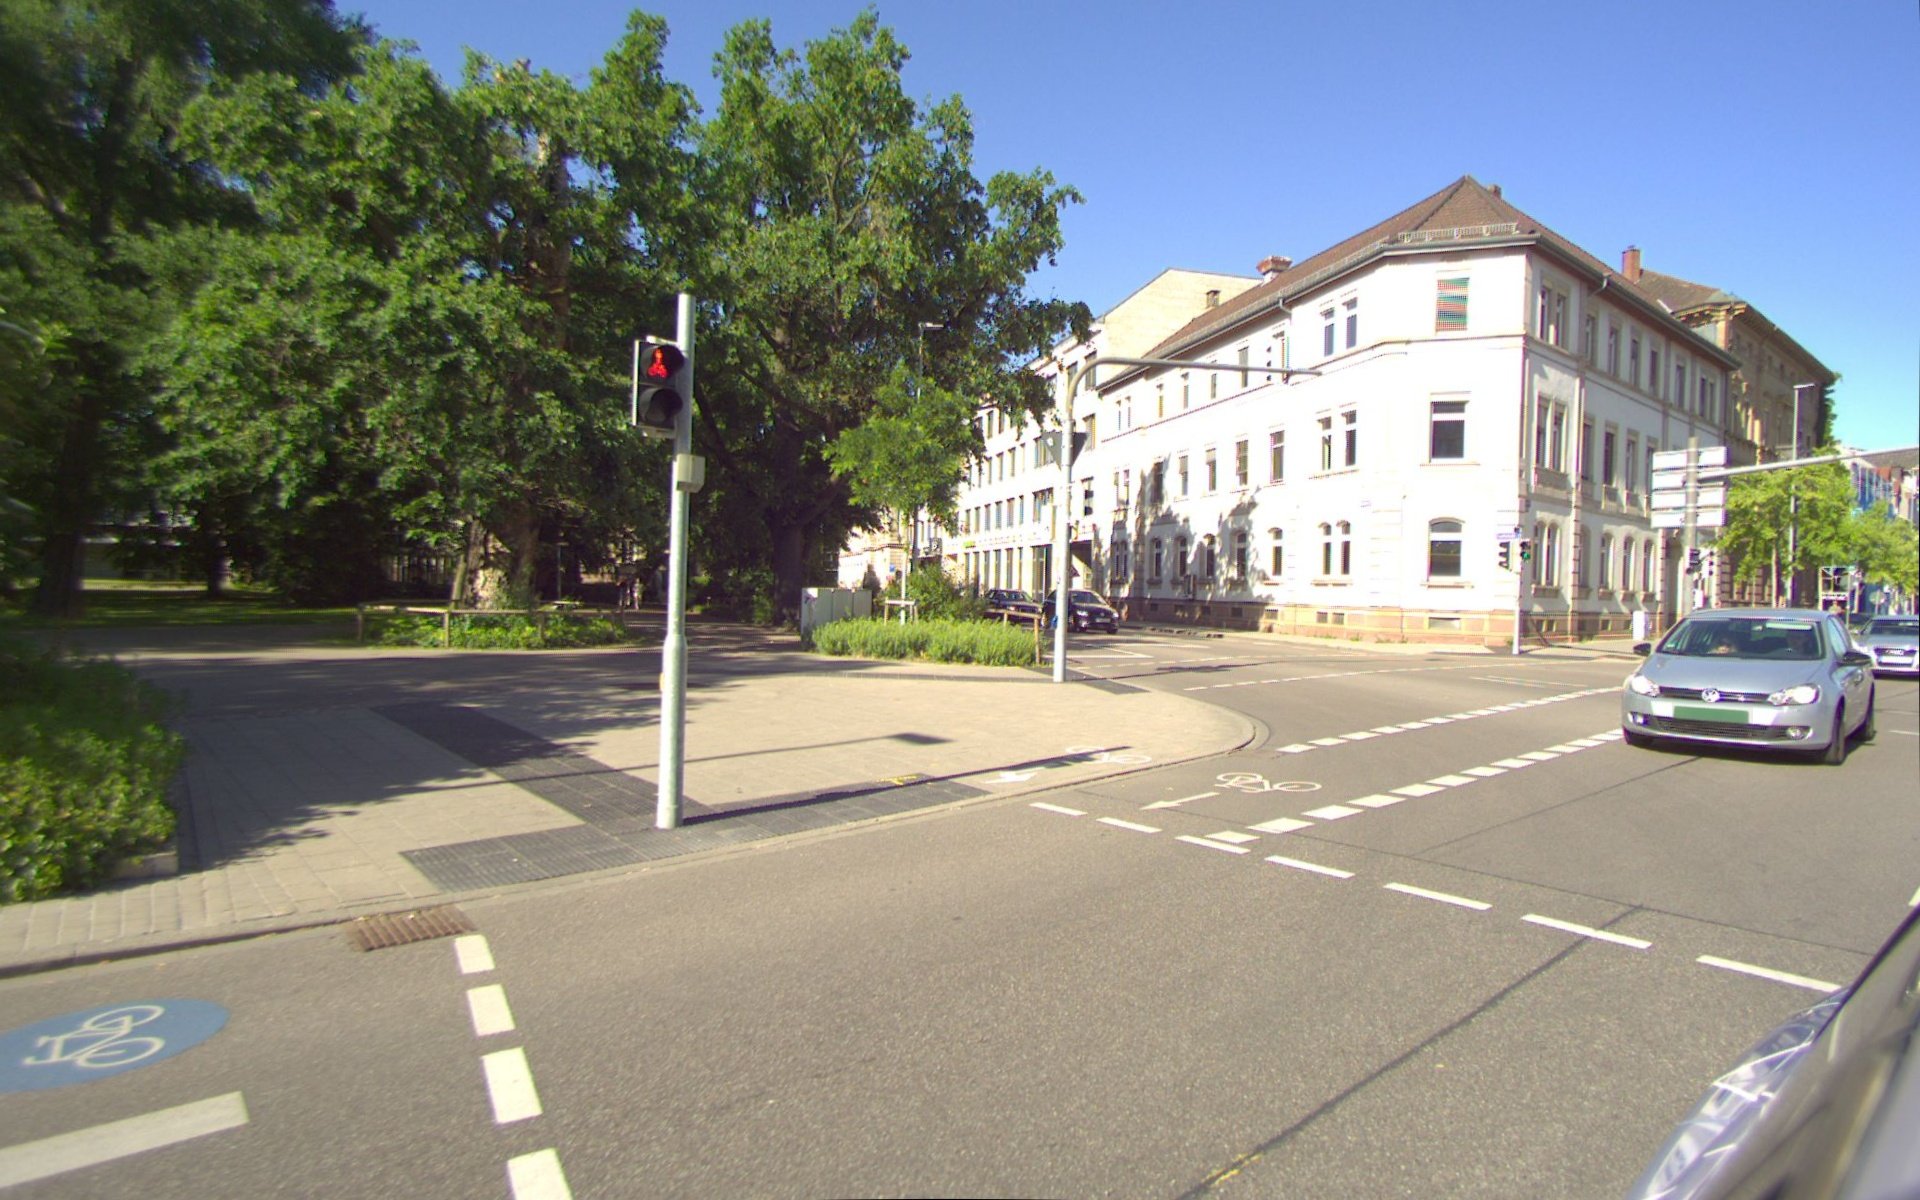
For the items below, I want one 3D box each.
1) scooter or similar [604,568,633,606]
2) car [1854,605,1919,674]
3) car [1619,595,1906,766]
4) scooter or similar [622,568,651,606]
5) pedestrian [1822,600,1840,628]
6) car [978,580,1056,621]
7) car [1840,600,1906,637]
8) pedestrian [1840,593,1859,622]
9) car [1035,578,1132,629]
[{"bbox_3d":[-17.114,-0.653,50.687,0.742,1.861,3.235,1,0,-29],"label":"scooter or similar"},{"bbox_3d":[21.484,0.836,22.548,3.929,1.442,1.838,0,0,-41],"label":"car"},{"bbox_3d":[8.687,0.714,10.845,3.929,1.493,1.702,0,0,-41],"label":"car"},{"bbox_3d":[-16.331,-0.647,51.005,0.742,1.861,3.235,1,0,-29],"label":"scooter or similar"},{"bbox_3d":[48.638,0.777,56.491,0.891,1.581,0.668,1,0,-42],"label":"pedestrian"},{"bbox_3d":[2.225,-0.003,40.602,1.821,1.457,4.009,3,0,-16],"label":"car"},{"bbox_3d":[39.888,0.783,44.196,3.929,1.461,1.609,0,2,-41],"label":"car"},{"bbox_3d":[49.196,0.395,55.964,0.891,1.581,0.668,1,0,-42],"label":"pedestrian"},{"bbox_3d":[4.078,0.096,34.043,1.696,1.501,4.008,4,-1,-17],"label":"car"}]
